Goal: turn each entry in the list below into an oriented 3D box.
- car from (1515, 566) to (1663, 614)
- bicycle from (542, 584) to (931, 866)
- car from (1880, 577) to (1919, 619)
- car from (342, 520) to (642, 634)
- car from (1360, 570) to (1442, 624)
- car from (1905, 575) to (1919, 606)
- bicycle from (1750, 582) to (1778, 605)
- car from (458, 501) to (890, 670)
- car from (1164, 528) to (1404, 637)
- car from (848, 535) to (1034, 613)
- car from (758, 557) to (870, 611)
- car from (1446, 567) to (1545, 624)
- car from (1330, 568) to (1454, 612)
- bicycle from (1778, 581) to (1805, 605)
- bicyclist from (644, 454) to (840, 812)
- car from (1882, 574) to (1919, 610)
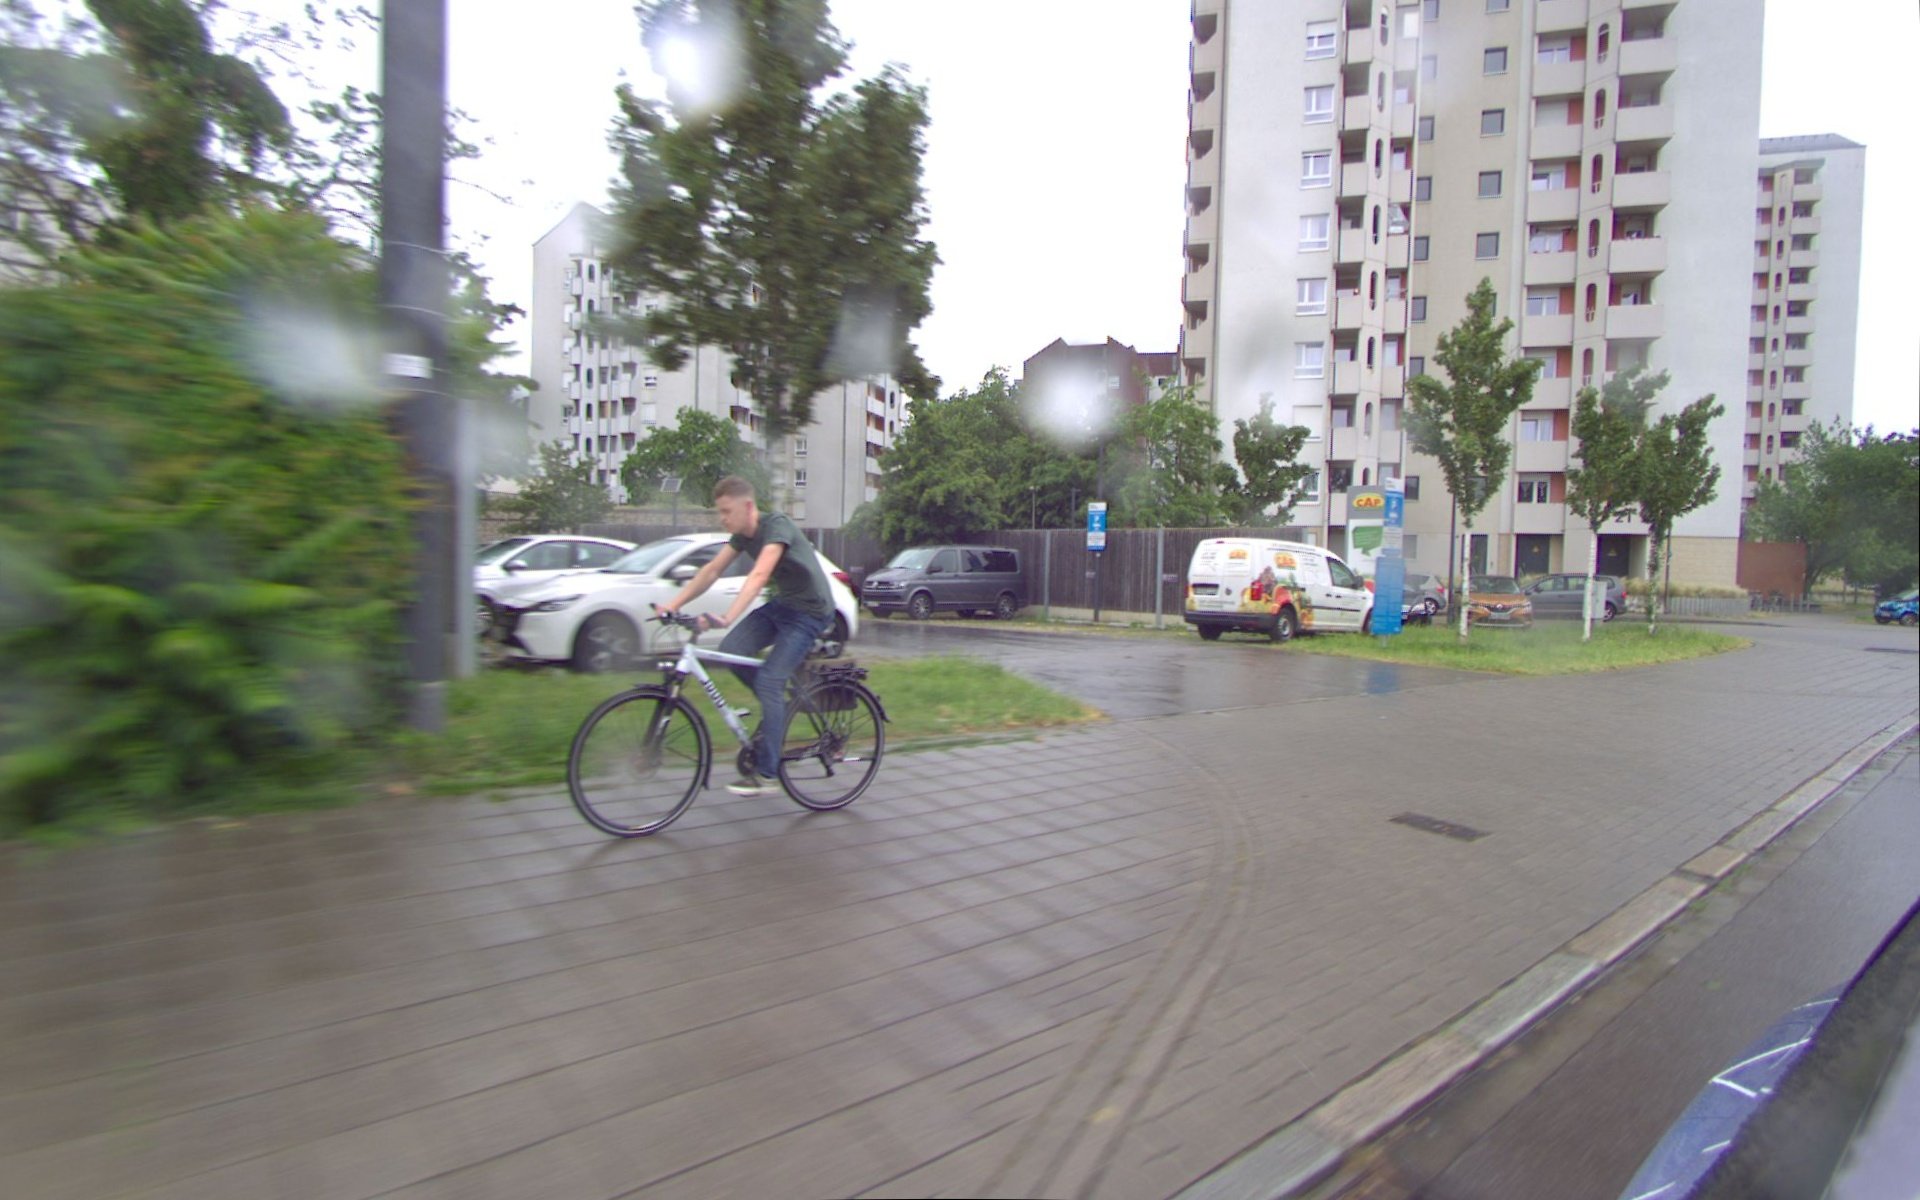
[{"bbox_3d":[22.019,-0.368,35.600,4.059,1.637,1.804,1,1,19],"label":"car"},{"bbox_3d":[-1.001,0.495,5.002,0.536,1.106,1.919,1,2,42],"label":"bicycle"},{"bbox_3d":[37.730,-0.062,39.218,2.522,1.566,1.600,2,3,9],"label":"car"},{"bbox_3d":[-6.860,-0.328,15.022,1.964,1.465,3.605,2,2,44],"label":"car"},{"bbox_3d":[12.963,-0.153,29.934,1.976,1.459,3.974,1,2,21],"label":"car"},{"bbox_3d":[54.990,-0.333,55.375,4.391,1.691,1.808,4,3,10],"label":"car"},{"bbox_3d":[37.287,-0.308,46.915,2.023,1.018,0.662,-2,2,-42],"label":"bicycle"},{"bbox_3d":[-3.110,-0.163,11.428,4.284,1.554,1.968,0,1,-39],"label":"car"},{"bbox_3d":[6.193,-0.322,19.070,4.808,1.806,1.968,0,1,-39],"label":"car"},{"bbox_3d":[-0.441,-0.651,26.828,4.692,1.893,1.968,0,1,-39],"label":"car"},{"bbox_3d":[-4.148,-0.504,29.437,1.750,1.460,3.980,0,2,17],"label":"car"},{"bbox_3d":[15.161,-0.191,28.861,1.976,1.459,3.974,1,2,21],"label":"car"},{"bbox_3d":[15.955,-0.389,37.605,4.059,1.552,1.804,1,1,19],"label":"car"},{"bbox_3d":[37.901,-0.335,46.120,2.023,1.018,0.662,-2,2,-42],"label":"bicycle"},{"bbox_3d":[-1.049,0.132,4.920,0.533,1.579,0.761,1,2,42],"label":"bicyclist"},{"bbox_3d":[44.459,-0.231,45.450,4.117,1.566,1.762,4,3,9],"label":"car"}]
